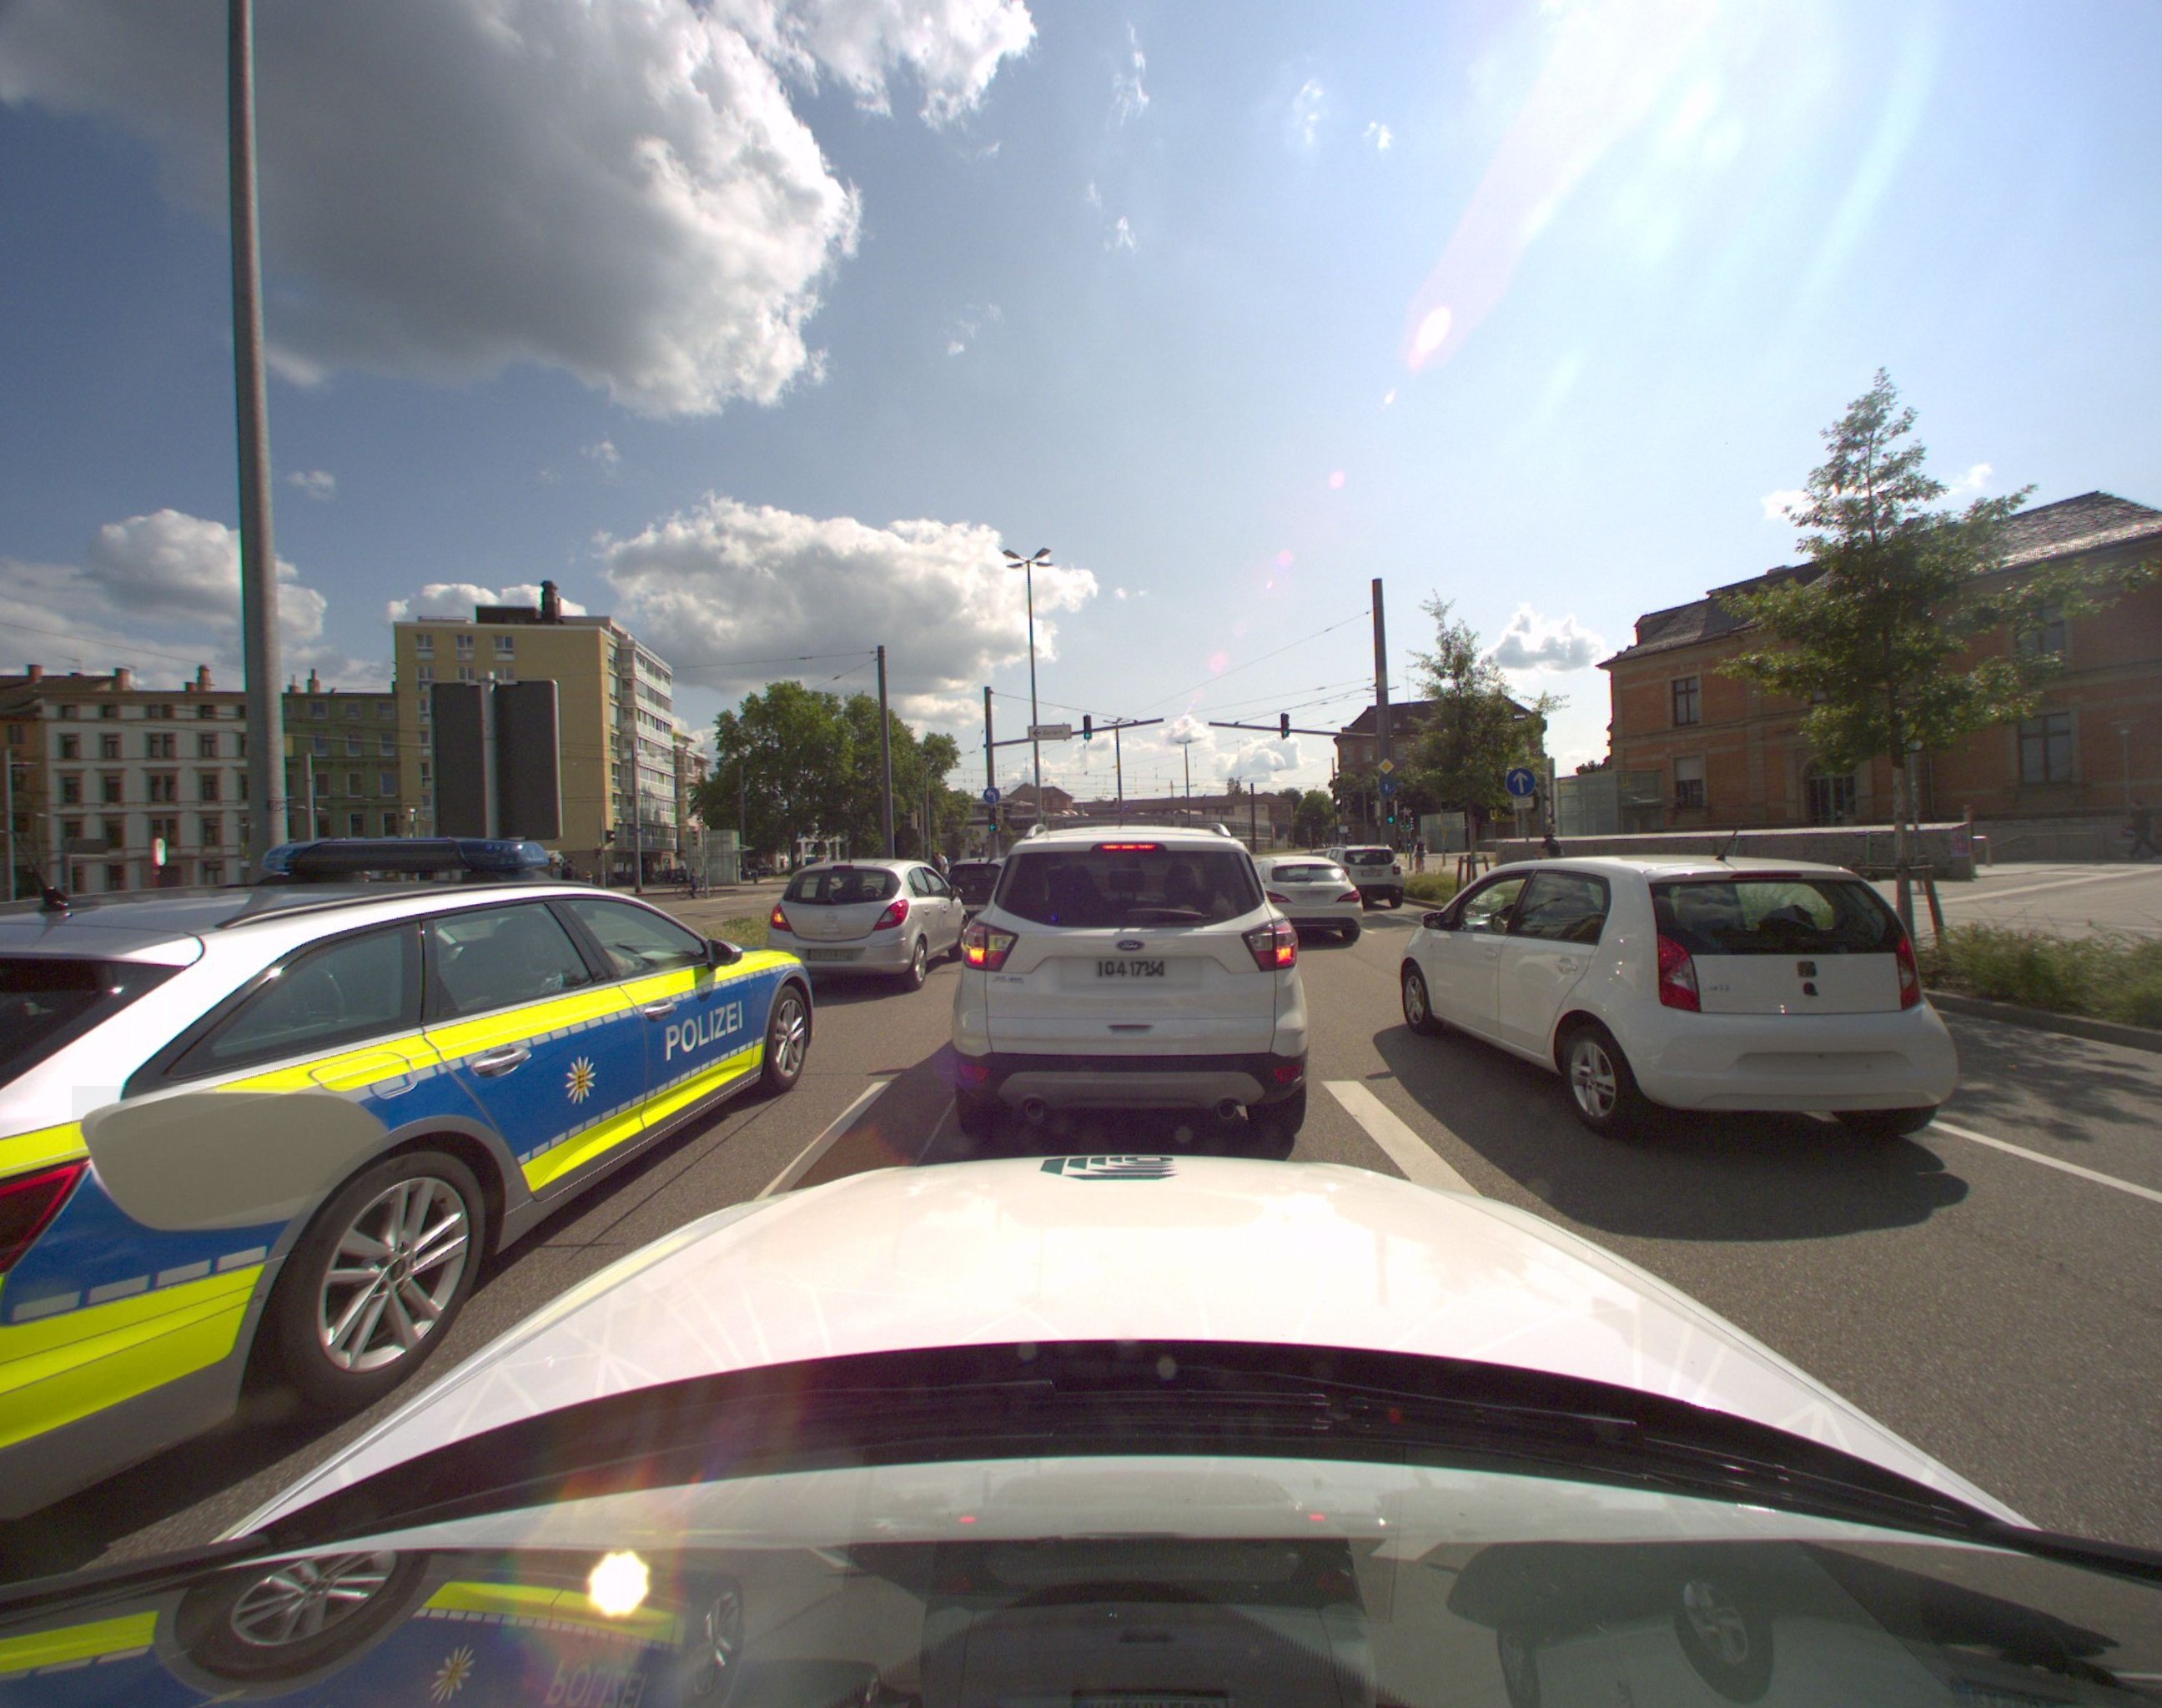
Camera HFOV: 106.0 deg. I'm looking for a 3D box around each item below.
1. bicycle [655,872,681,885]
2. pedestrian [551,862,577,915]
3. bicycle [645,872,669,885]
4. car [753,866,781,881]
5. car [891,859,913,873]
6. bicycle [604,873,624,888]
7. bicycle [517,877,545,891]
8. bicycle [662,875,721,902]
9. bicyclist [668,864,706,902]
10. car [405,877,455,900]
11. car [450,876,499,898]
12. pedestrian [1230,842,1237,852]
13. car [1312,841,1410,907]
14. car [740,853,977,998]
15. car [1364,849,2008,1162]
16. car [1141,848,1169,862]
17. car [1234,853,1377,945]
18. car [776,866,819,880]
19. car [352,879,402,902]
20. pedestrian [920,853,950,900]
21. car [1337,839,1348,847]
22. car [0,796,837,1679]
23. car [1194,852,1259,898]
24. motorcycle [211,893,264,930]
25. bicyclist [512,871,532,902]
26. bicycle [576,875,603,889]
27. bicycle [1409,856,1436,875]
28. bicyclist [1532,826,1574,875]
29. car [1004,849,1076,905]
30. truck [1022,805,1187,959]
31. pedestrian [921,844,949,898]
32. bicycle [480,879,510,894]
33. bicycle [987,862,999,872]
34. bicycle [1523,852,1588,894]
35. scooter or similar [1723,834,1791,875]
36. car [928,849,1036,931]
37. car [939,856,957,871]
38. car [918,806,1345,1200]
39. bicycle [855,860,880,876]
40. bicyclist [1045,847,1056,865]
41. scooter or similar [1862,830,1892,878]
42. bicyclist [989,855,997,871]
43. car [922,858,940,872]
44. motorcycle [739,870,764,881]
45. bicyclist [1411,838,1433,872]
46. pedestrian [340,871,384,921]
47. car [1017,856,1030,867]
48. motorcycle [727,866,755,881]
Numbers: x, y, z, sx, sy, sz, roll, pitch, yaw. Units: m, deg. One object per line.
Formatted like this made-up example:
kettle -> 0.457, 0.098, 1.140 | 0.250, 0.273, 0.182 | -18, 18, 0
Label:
bicycle -> -38.047, 2.244, 75.004 | 1.948, 1.147, 0.792 | -2, 0, -17
pedestrian -> -19.115, 1.265, 30.142 | 0.770, 1.903, 0.819 | 0, -1, -30
bicycle -> -38.359, 2.222, 73.707 | 1.808, 1.147, 0.792 | -2, 0, -17
car -> -32.487, 2.044, 84.396 | 1.905, 1.413, 3.986 | -3, -1, -10
car -> -27.545, 1.867, 125.610 | 1.960, 1.937, 5.070 | -4, -1, 1
bicycle -> -41.320, 2.309, 72.088 | 0.792, 1.258, 1.808 | -2, 0, -2
bicycle -> -46.809, 2.513, 69.316 | 1.808, 1.104, 0.792 | -2, 0, -18
bicycle -> -18.658, 1.644, 39.083 | 2.286, 1.188, 0.994 | -3, -1, -1
bicyclist -> -18.900, 1.370, 39.081 | 1.293, 1.731, 0.994 | -3, -1, -1
car -> -48.055, 2.536, 60.107 | 3.849, 1.496, 1.912 | -3, -2, 35
car -> -45.968, 2.483, 61.671 | 3.849, 1.496, 1.912 | -3, -2, 36
pedestrian -> 27.188, -1.281, 145.036 | 0.866, 1.737, 0.882 | -1, -1, 37
car -> 7.676, 0.529, 22.670 | 1.826, 1.652, 4.009 | -1, -1, 8
car -> -2.613, 0.759, 10.630 | 1.841, 1.474, 4.002 | -2, 0, 2
car -> 3.518, 0.700, 5.801 | 1.644, 1.422, 4.000 | -1, 0, 1
car -> 8.533, 0.078, 93.675 | 1.882, 1.461, 3.991 | -3, 0, 24
car -> 3.871, 0.712, 14.637 | 1.841, 1.419, 3.684 | -1, 0, 5
car -> -30.445, 2.011, 87.490 | 3.975, 1.327, 1.632 | -3, -1, -1
car -> -51.476, 2.672, 59.552 | 3.849, 1.496, 1.912 | -3, -2, 35
pedestrian -> -5.246, 0.794, 29.282 | 0.844, 1.648, 0.693 | -3, -1, 1
car -> 54.009, -2.293, 168.056 | 1.820, 1.652, 4.021 | -2, -1, 22
car -> -2.800, 0.709, 3.539 | 1.873, 1.568, 4.617 | -2, 0, 2
car -> 4.909, 0.684, 27.846 | 1.841, 1.419, 3.684 | -1, 0, 5
motorcycle -> -30.652, 2.077, 29.593 | 1.436, 1.236, 0.484 | -3, -1, 3
bicyclist -> -32.428, 1.877, 47.271 | 0.779, 1.797, 0.706 | 0, -1, -18
bicycle -> -42.398, 2.399, 70.220 | 1.808, 1.104, 0.792 | -2, 0, -18
bicycle -> 15.009, 0.486, 35.789 | 0.582, 0.775, 1.623 | -2, 0, 4
bicyclist -> 12.253, -0.098, 21.170 | 0.631, 1.220, 0.927 | -4, 0, 11
car -> -1.205, 0.676, 26.084 | 2.033, 1.578, 4.538 | -1, 0, 0
truck -> 0.572, 0.403, 14.526 | 2.328, 2.155, 5.859 | -1, 0, 5
pedestrian -> -5.398, 0.632, 30.118 | 0.844, 1.917, 0.693 | -3, -1, 1
bicycle -> -49.383, 2.741, 68.639 | 1.808, 1.104, 0.792 | -2, 0, -18
bicycle -> -9.691, 1.409, 89.614 | 0.641, 1.125, 1.768 | -2, 0, -27
bicycle -> 12.334, 0.479, 21.248 | 0.841, 0.970, 1.968 | -5, 0, 13
scooter or similar -> 19.394, 0.024, 23.399 | 0.466, 1.118, 1.438 | -3, 0, -18
car -> -2.092, 0.711, 18.423 | 1.756, 1.568, 4.528 | -2, 0, 1
car -> -20.298, 1.456, 124.331 | 1.989, 2.014, 4.227 | -4, -1, -2
car -> 0.391, 0.649, 5.496 | 1.818, 1.664, 3.961 | -1, 0, 5
bicycle -> -19.798, 1.326, 75.574 | 2.171, 1.414, 0.808 | -1, 0, -14
bicyclist -> -2.998, 0.181, 80.439 | 0.753, 1.683, 0.764 | -3, 0, 16
scooter or similar -> 19.691, -0.007, 20.144 | 1.326, 1.104, 0.460 | -4, 0, -44
bicyclist -> -9.616, 0.944, 89.459 | 0.641, 1.738, 0.656 | -2, 0, -27
car -> -22.932, 1.646, 124.648 | 1.963, 1.937, 4.227 | -4, -1, -2
motorcycle -> -31.414, 2.017, 77.764 | 0.801, 0.917, 2.057 | -2, 1, 39
bicyclist -> 14.982, 0.062, 35.794 | 0.606, 1.451, 0.775 | -2, 0, 2
pedestrian -> -26.665, 1.527, 30.210 | 0.764, 1.797, 1.026 | 0, -1, -7
car -> -8.631, 1.093, 122.403 | 1.814, 1.534, 3.913 | -4, -1, -2
motorcycle -> -30.461, 1.786, 72.895 | 2.193, 1.238, 0.910 | -2, 1, 19
